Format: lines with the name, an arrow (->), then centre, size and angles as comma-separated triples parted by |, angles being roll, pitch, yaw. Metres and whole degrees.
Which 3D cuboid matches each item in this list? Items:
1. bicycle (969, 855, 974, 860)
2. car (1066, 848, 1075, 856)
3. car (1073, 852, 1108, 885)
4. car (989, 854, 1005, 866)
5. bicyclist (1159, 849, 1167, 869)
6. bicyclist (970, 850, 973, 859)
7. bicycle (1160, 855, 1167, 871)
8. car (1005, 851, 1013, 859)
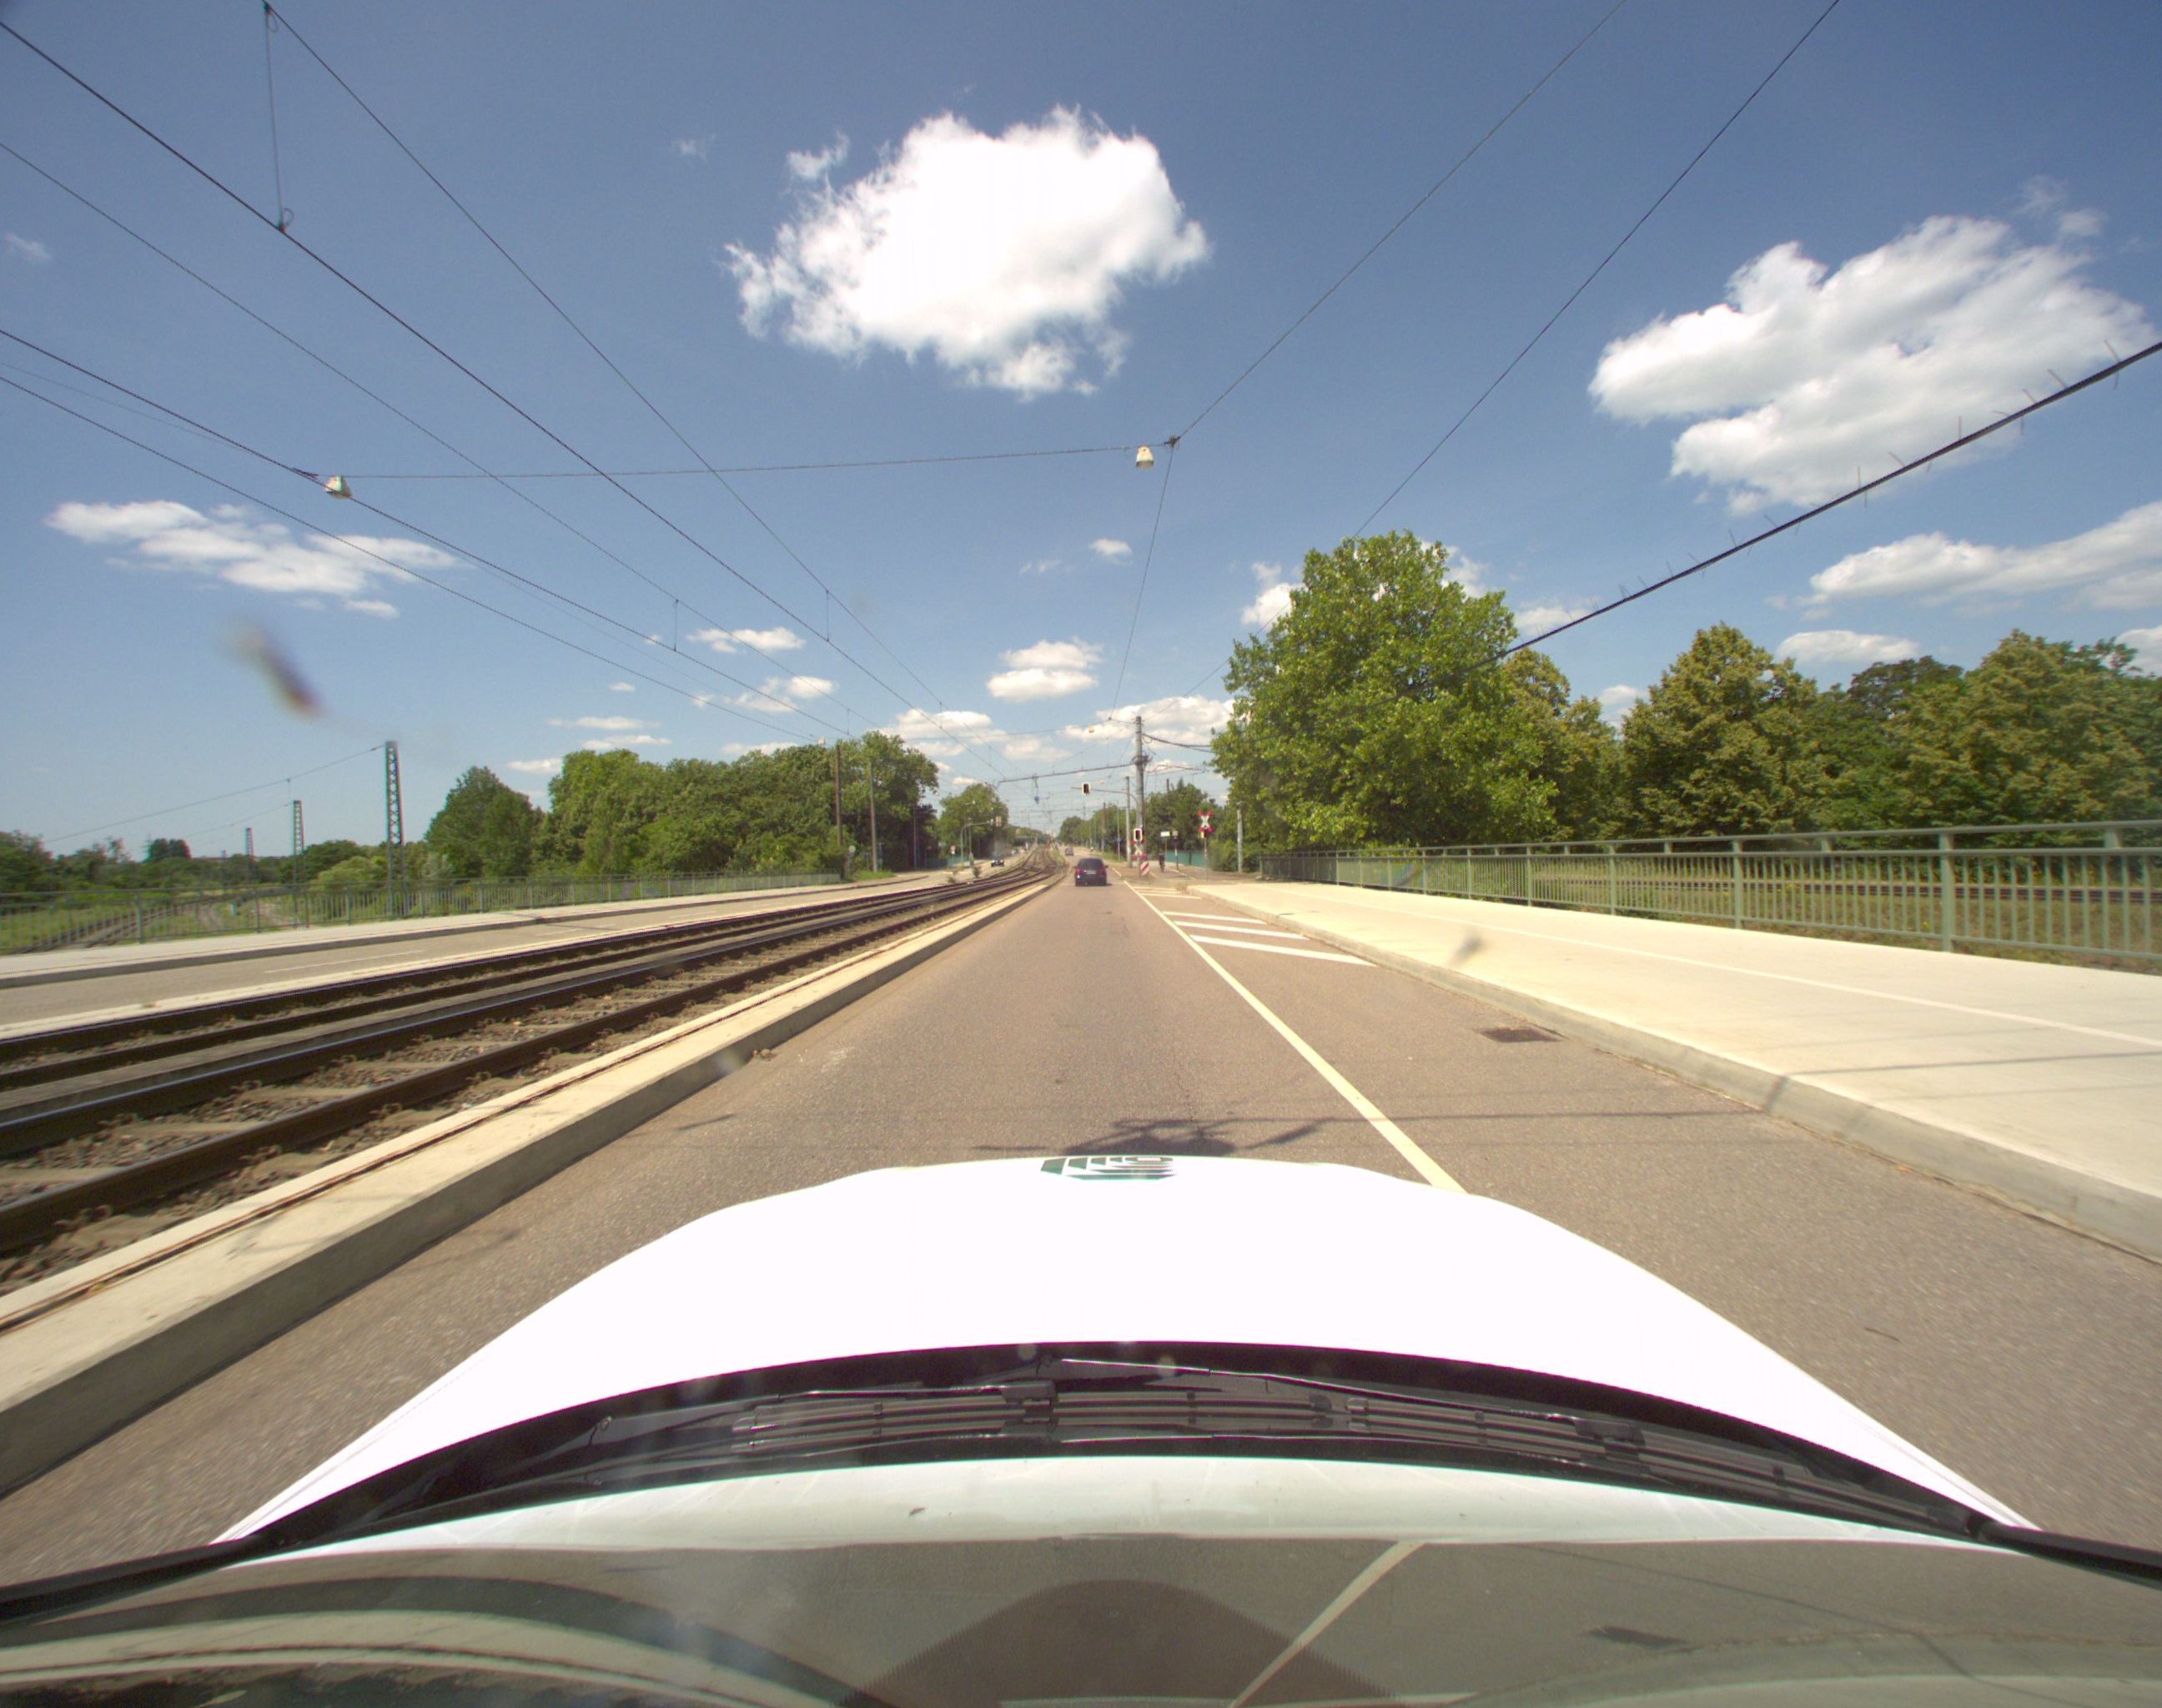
bicycle -> -18.530, 0.590, 137.866 | 0.467, 0.868, 1.743 | -1, 0, 0
car -> -2.428, -0.502, 189.910 | 1.878, 1.639, 4.002 | 2, 2, 2
car -> 0.571, 0.790, 46.060 | 1.846, 1.570, 4.390 | -1, 2, 1
car -> -11.519, 0.767, 111.752 | 1.698, 1.510, 3.735 | -3, 0, 2
bicyclist -> 6.366, 0.369, 63.012 | 0.583, 1.494, 0.558 | 0, 2, 2
bicyclist -> -18.544, 0.134, 137.976 | 0.455, 1.474, 0.633 | -1, 0, 0
bicycle -> 6.370, 0.701, 63.221 | 0.430, 1.152, 1.856 | 0, 2, 3
car -> -20.490, 0.285, 232.754 | 1.988, 2.013, 3.998 | -2, 0, -1
